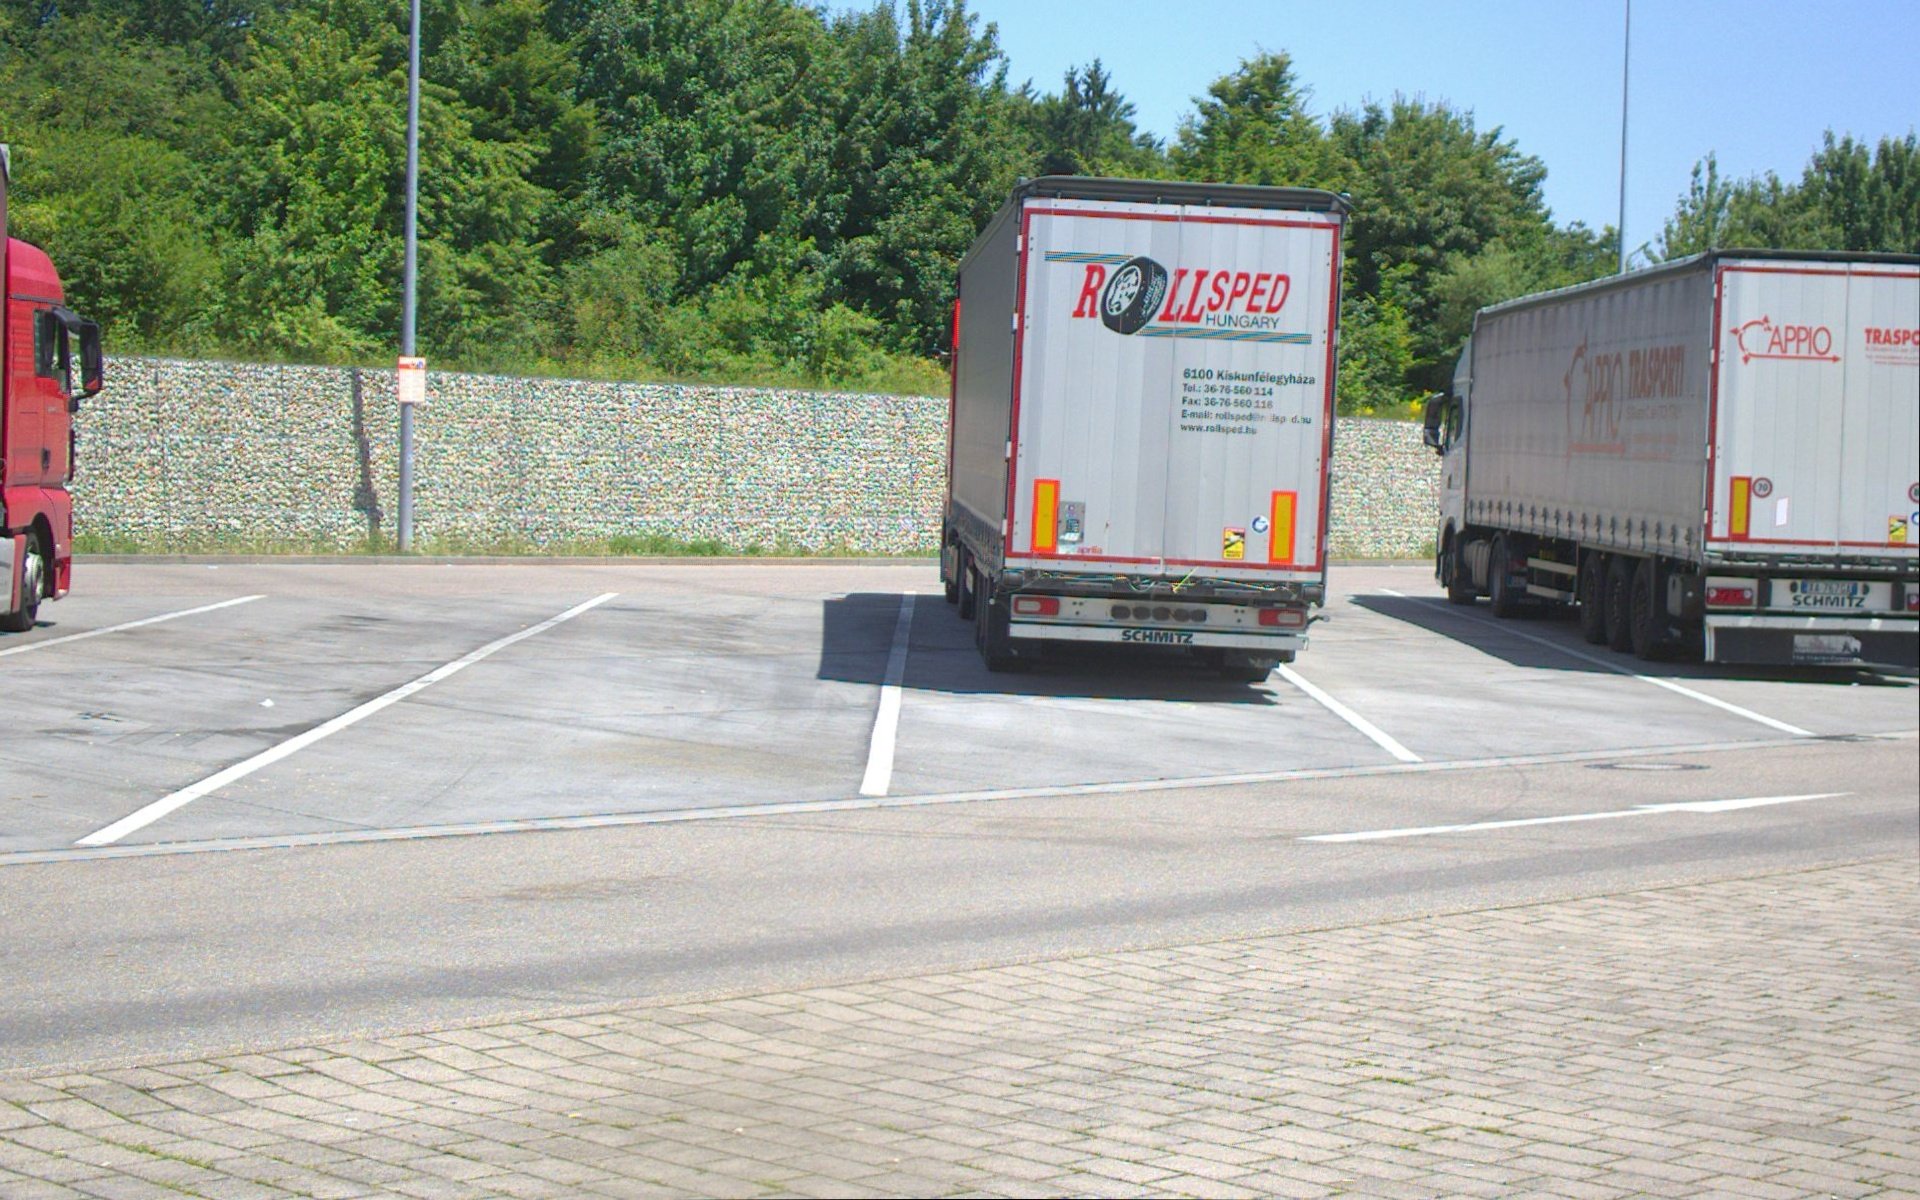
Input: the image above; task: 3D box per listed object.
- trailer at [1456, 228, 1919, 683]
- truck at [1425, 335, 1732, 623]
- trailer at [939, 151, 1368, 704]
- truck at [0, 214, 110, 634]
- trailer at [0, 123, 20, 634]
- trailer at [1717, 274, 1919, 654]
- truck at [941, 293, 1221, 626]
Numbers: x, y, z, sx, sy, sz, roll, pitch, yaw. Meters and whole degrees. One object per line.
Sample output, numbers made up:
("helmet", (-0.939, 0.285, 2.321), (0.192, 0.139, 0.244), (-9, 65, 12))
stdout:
("trailer", (8.155, -1.626, 38.688), (2.838, 4.118, 13.724), (2, 3, -1))
("truck", (8.062, -1.623, 45.501), (2.852, 3.472, 5.483), (2, 2, -1))
("trailer", (1.438, -1.623, 33.198), (2.906, 4.118, 13.725), (2, 3, -1))
("truck", (-9.238, -1.509, 28.741), (2.852, 3.416, 5.483), (2, 2, -1))
("trailer", (-9.149, -1.494, 21.303), (2.906, 4.118, 13.725), (2, 3, -1))
("trailer", (11.792, -1.527, 39.440), (2.838, 4.118, 13.724), (2, 3, -1))
("truck", (1.290, -1.629, 39.811), (2.852, 3.472, 5.483), (2, 2, -1))
